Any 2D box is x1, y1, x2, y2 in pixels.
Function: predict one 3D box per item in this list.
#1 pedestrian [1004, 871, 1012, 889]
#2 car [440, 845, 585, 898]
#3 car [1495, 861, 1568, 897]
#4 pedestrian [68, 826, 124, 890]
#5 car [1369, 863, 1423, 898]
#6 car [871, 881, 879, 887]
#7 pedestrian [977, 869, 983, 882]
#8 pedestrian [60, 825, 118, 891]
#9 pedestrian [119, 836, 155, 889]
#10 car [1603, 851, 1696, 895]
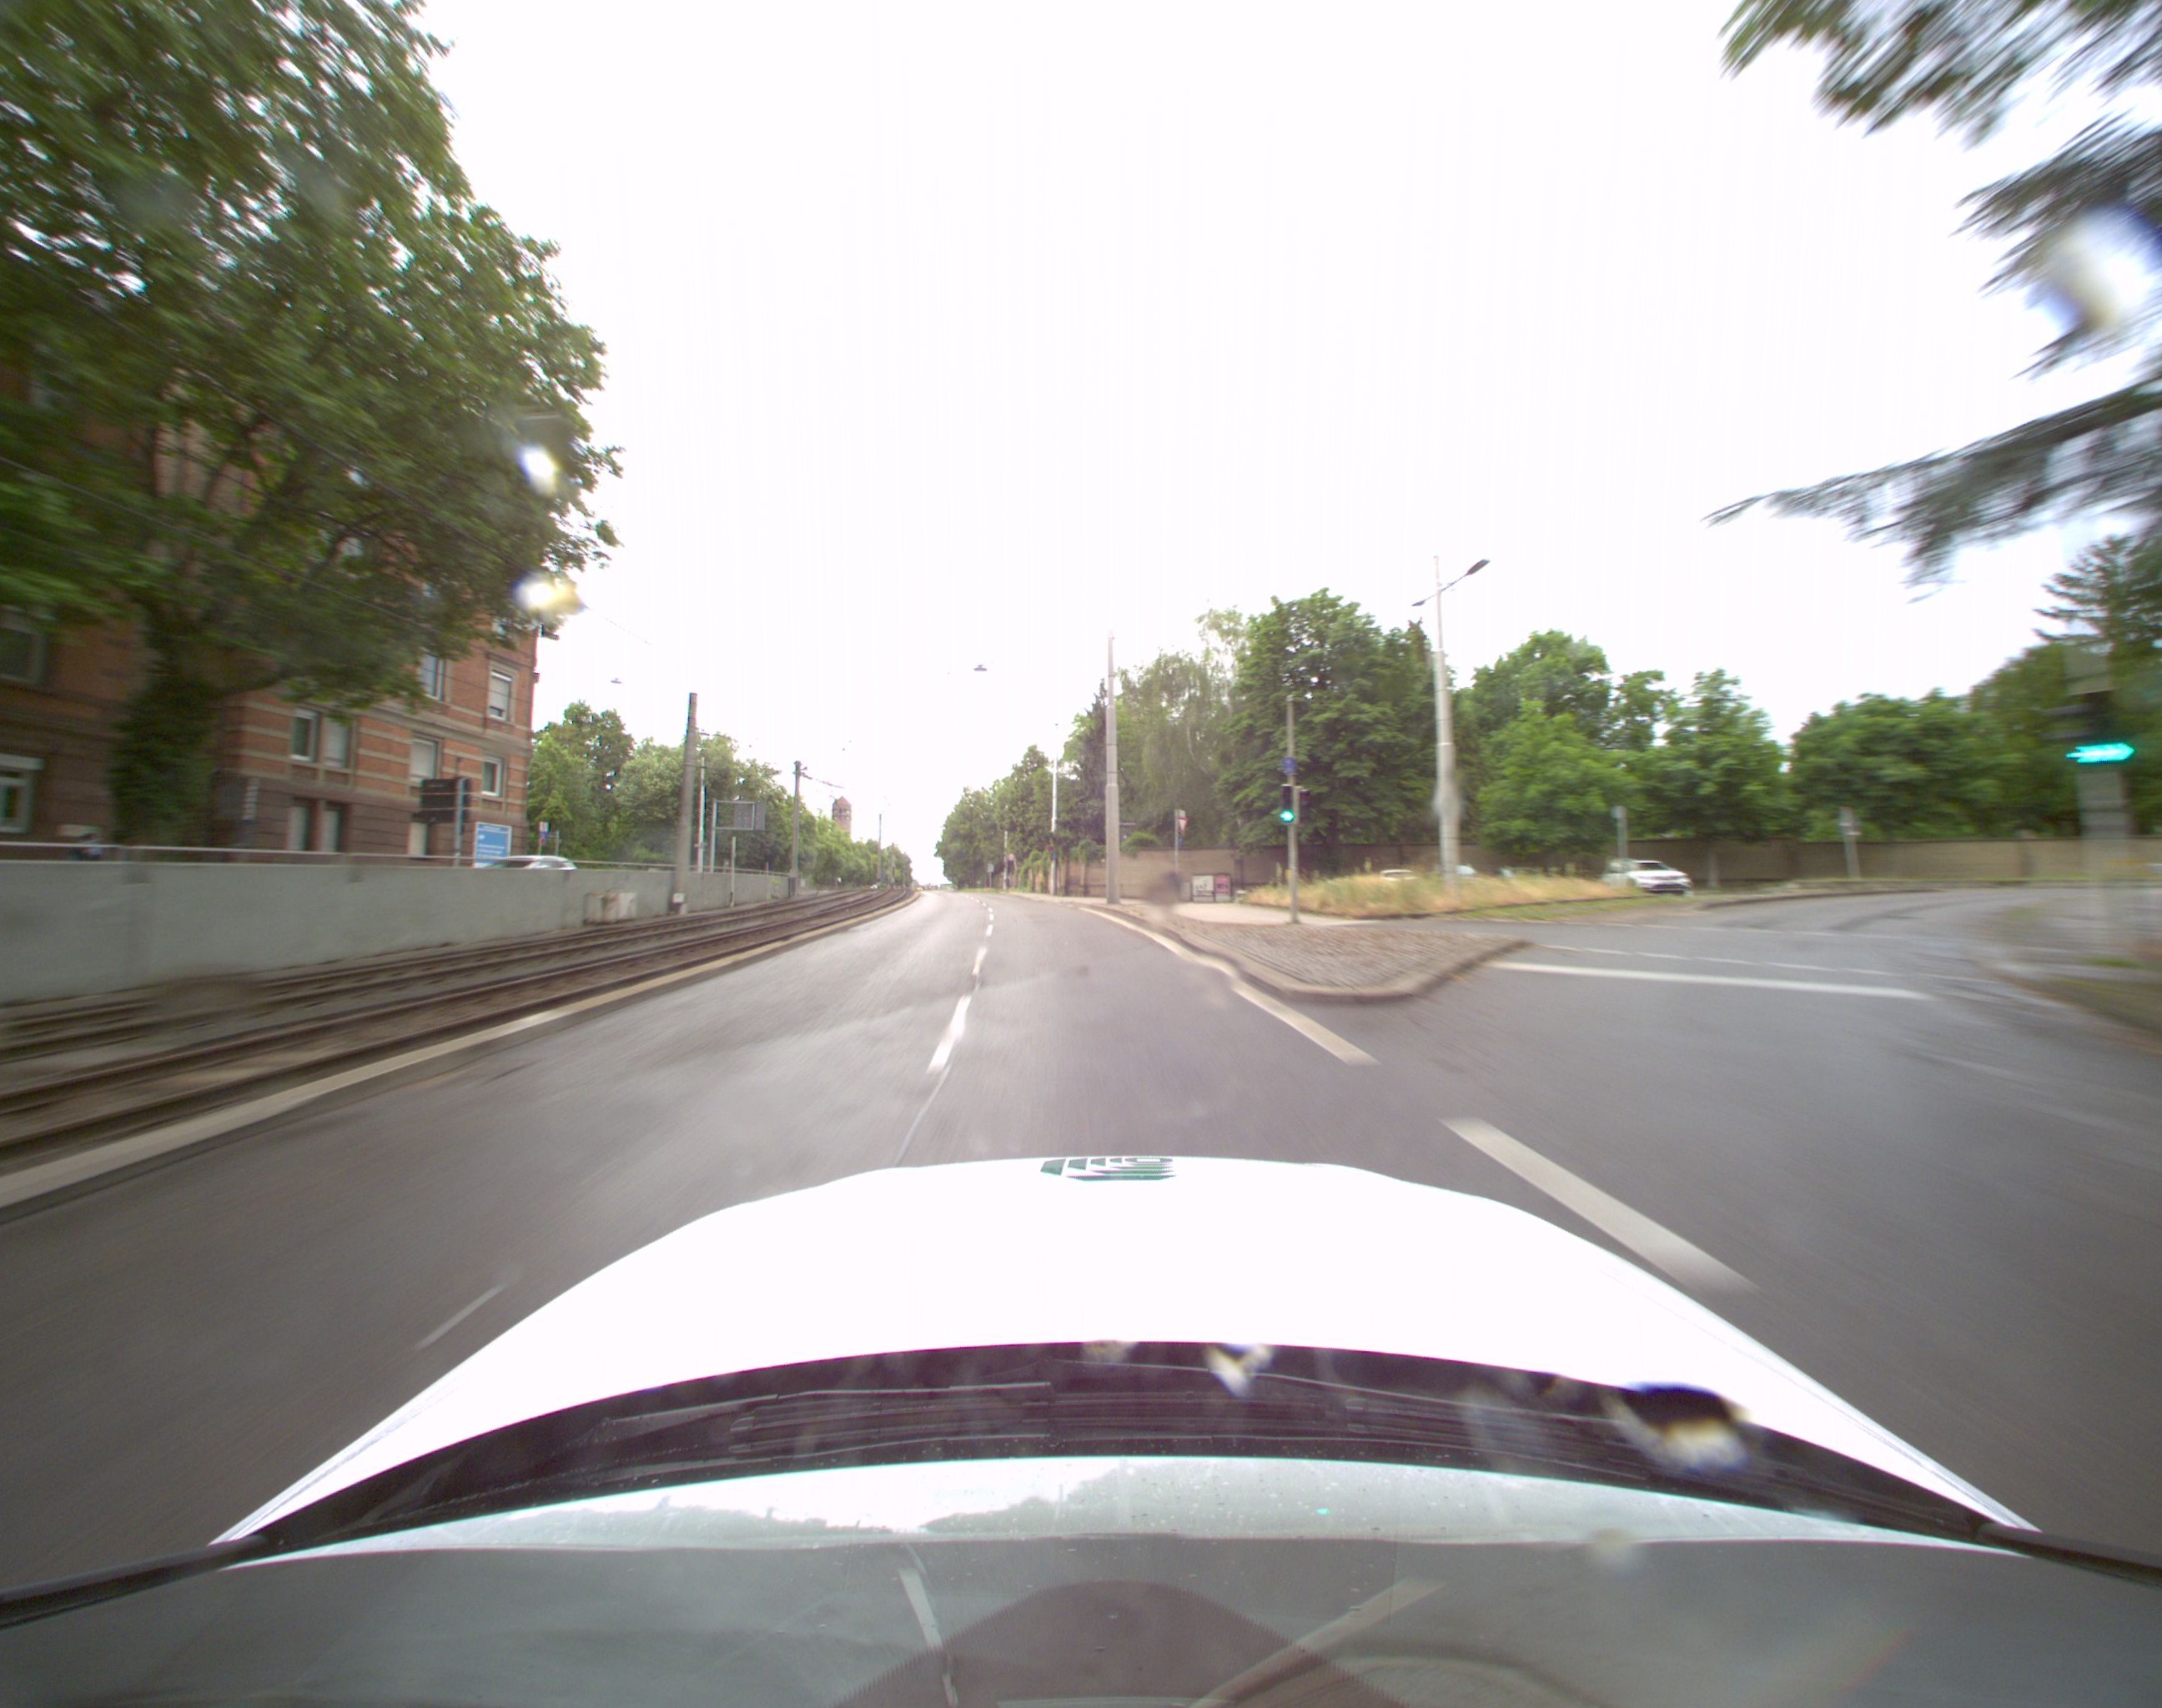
[{"bbox_3d":[-7.675,2.773,85.325,0.720,1.850,0.780,2,-3,-10],"label":"pedestrian"},{"bbox_3d":[-19.245,0.595,27.850,1.788,1.612,4.357,2,-1,0],"label":"car"},{"bbox_3d":[18.671,1.089,33.945,1.770,1.391,4.016,-2,-4,16],"label":"car"},{"bbox_3d":[-25.660,0.098,21.221,0.589,1.625,0.724,-2,-1,10],"label":"pedestrian"},{"bbox_3d":[13.798,1.213,35.816,1.740,1.406,4.014,-1,-3,14],"label":"car"},{"bbox_3d":[-54.503,7.897,215.610,1.794,1.510,3.835,1,-2,-10],"label":"car"},{"bbox_3d":[-13.299,2.799,107.638,0.720,1.688,0.726,2,-3,-10],"label":"pedestrian"},{"bbox_3d":[-25.065,0.095,20.582,0.589,1.625,0.724,-2,-1,10],"label":"pedestrian"},{"bbox_3d":[-24.439,0.217,21.090,0.333,1.334,0.503,-1,-1,-4],"label":"pedestrian"},{"bbox_3d":[23.164,0.836,33.355,1.770,1.557,4.235,-3,-5,16],"label":"car"}]
